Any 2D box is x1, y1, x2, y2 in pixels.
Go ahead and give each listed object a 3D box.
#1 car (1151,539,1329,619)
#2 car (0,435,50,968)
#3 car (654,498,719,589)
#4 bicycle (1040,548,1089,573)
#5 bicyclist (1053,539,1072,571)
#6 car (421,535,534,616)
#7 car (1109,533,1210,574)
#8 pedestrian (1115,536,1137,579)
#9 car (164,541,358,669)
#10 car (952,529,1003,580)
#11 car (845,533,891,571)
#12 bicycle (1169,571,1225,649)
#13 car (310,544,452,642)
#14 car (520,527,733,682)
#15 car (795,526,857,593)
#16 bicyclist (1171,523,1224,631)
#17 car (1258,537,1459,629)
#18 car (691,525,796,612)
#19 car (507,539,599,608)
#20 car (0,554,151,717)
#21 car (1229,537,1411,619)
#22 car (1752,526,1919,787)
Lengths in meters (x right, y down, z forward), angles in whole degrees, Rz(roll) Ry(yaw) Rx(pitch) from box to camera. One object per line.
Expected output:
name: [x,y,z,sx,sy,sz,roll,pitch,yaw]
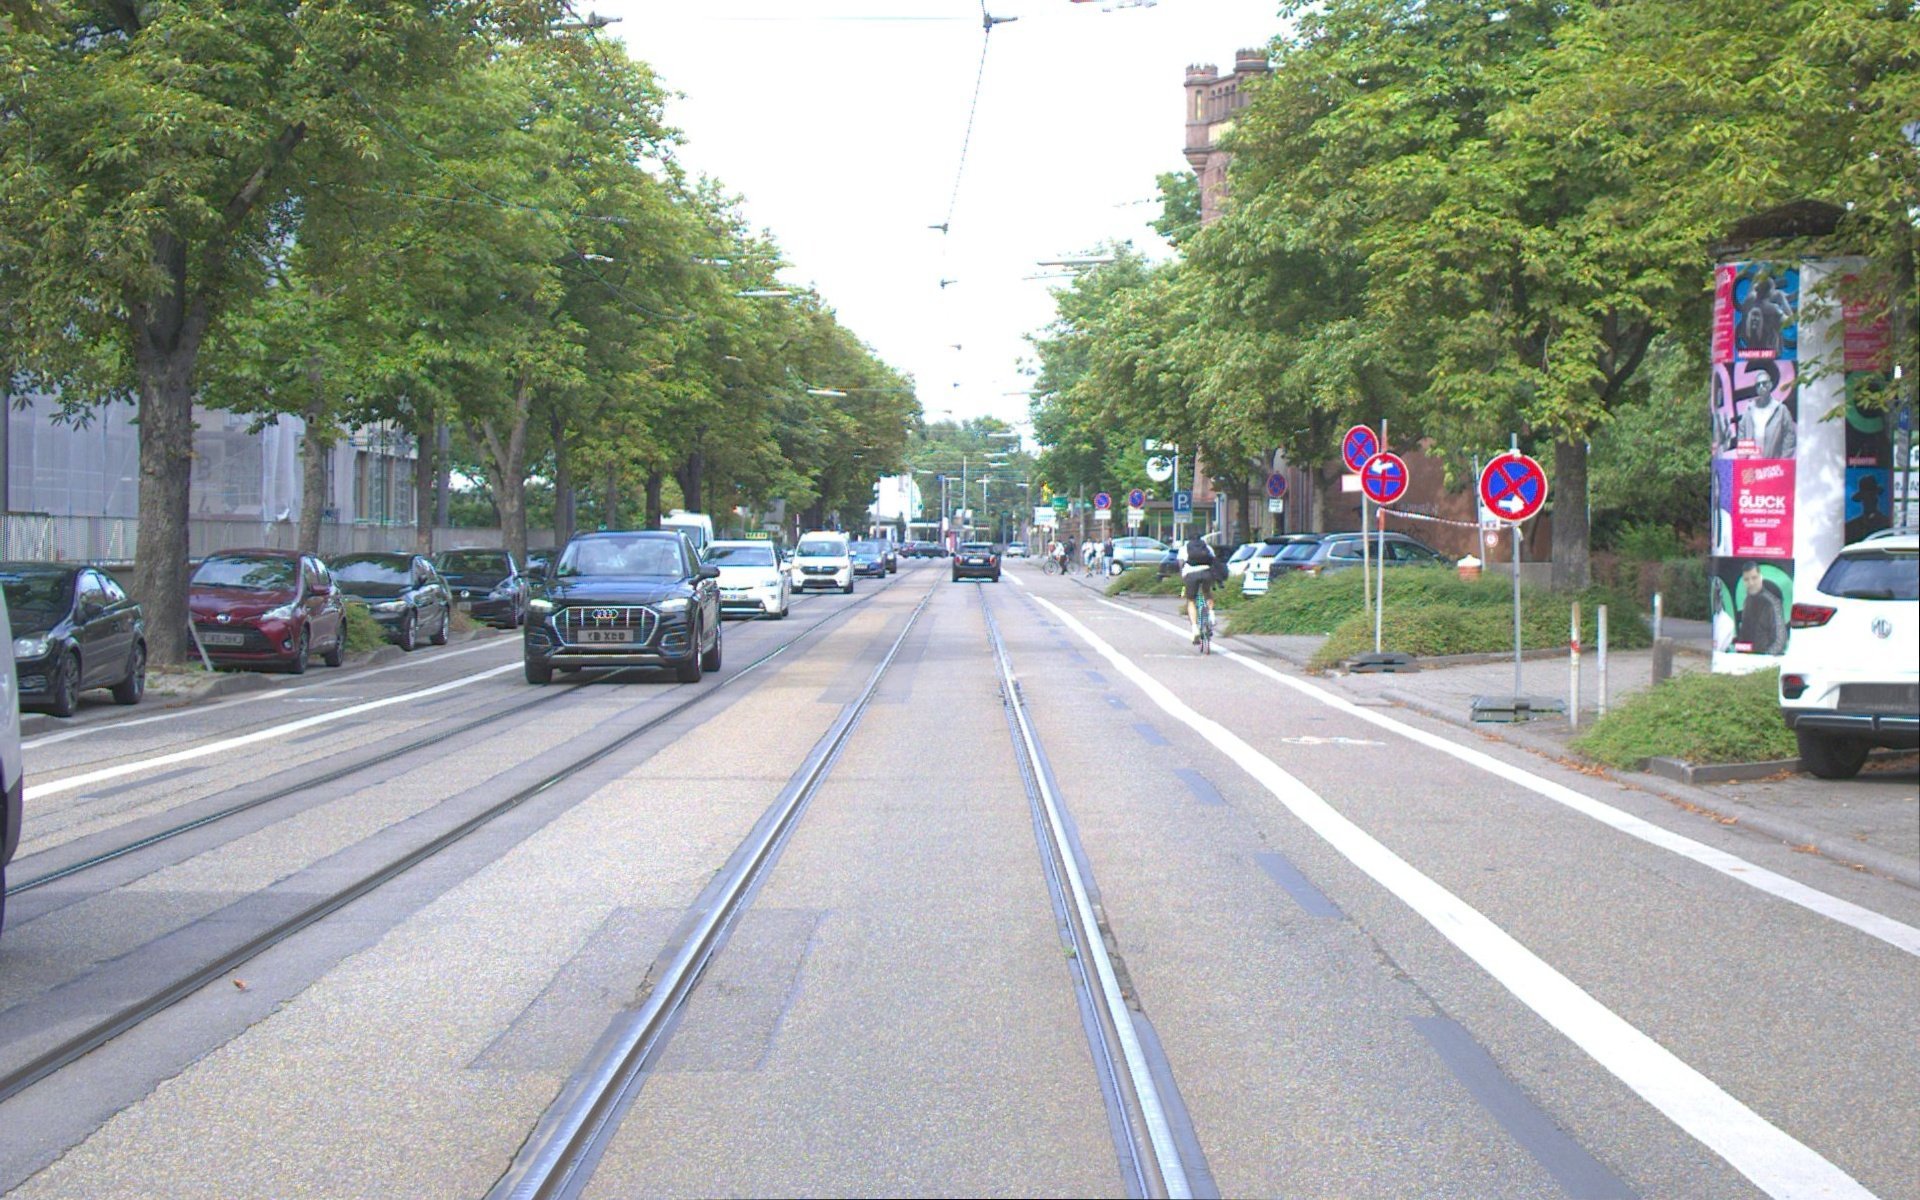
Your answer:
car: [5.763,-0.441,70.537,1.681,1.597,3.637,1,1,45]
car: [-4.142,0.372,9.977,1.795,1.817,4.679,1,1,-1]
car: [-8.452,-1.752,106.528,1.720,2.695,5.471,1,1,-2]
bicycle: [5.079,-1.932,167.004,2.275,1.185,0.768,1,1,8]
bicyclist: [4.987,-2.185,167.006,0.847,1.499,0.768,1,1,8]
car: [-8.728,-0.463,62.423,1.590,1.398,3.963,1,1,-2]
car: [8.376,-1.973,144.748,3.986,1.687,2.000,1,1,-5]
pedestrian: [6.985,-1.776,144.595,0.748,1.783,0.730,1,0,15]
car: [-8.645,0.029,42.807,1.635,1.491,3.963,1,1,-1]
car: [0.621,-1.705,127.827,1.795,1.817,4.679,1,1,-1]
car: [-3.673,-1.924,137.475,1.732,1.491,4.378,0,1,0]
bicycle: [3.319,0.133,48.267,0.663,1.040,1.841,1,1,1]
car: [-8.735,-0.131,52.114,1.590,1.398,3.963,1,1,-2]
car: [-3.645,0.006,38.267,1.847,1.607,4.334,1,1,1]
car: [-3.875,-1.190,99.469,1.732,1.878,4.379,1,1,-2]
bicyclist: [3.323,-0.323,48.174,0.659,1.491,0.929,1,1,1]
car: [7.152,-0.317,61.592,1.681,1.597,3.637,1,1,45]
car: [-4.107,-0.629,65.814,1.732,1.607,4.334,0,1,0]
car: [-8.575,-0.578,72.722,1.590,1.398,3.963,1,1,-2]
car: [-8.801,0.287,32.256,1.590,1.398,3.963,1,1,-2]
car: [7.174,-0.437,68.389,1.681,1.597,3.637,1,1,45]
car: [6.917,0.339,22.550,1.681,1.597,3.637,1,1,45]
